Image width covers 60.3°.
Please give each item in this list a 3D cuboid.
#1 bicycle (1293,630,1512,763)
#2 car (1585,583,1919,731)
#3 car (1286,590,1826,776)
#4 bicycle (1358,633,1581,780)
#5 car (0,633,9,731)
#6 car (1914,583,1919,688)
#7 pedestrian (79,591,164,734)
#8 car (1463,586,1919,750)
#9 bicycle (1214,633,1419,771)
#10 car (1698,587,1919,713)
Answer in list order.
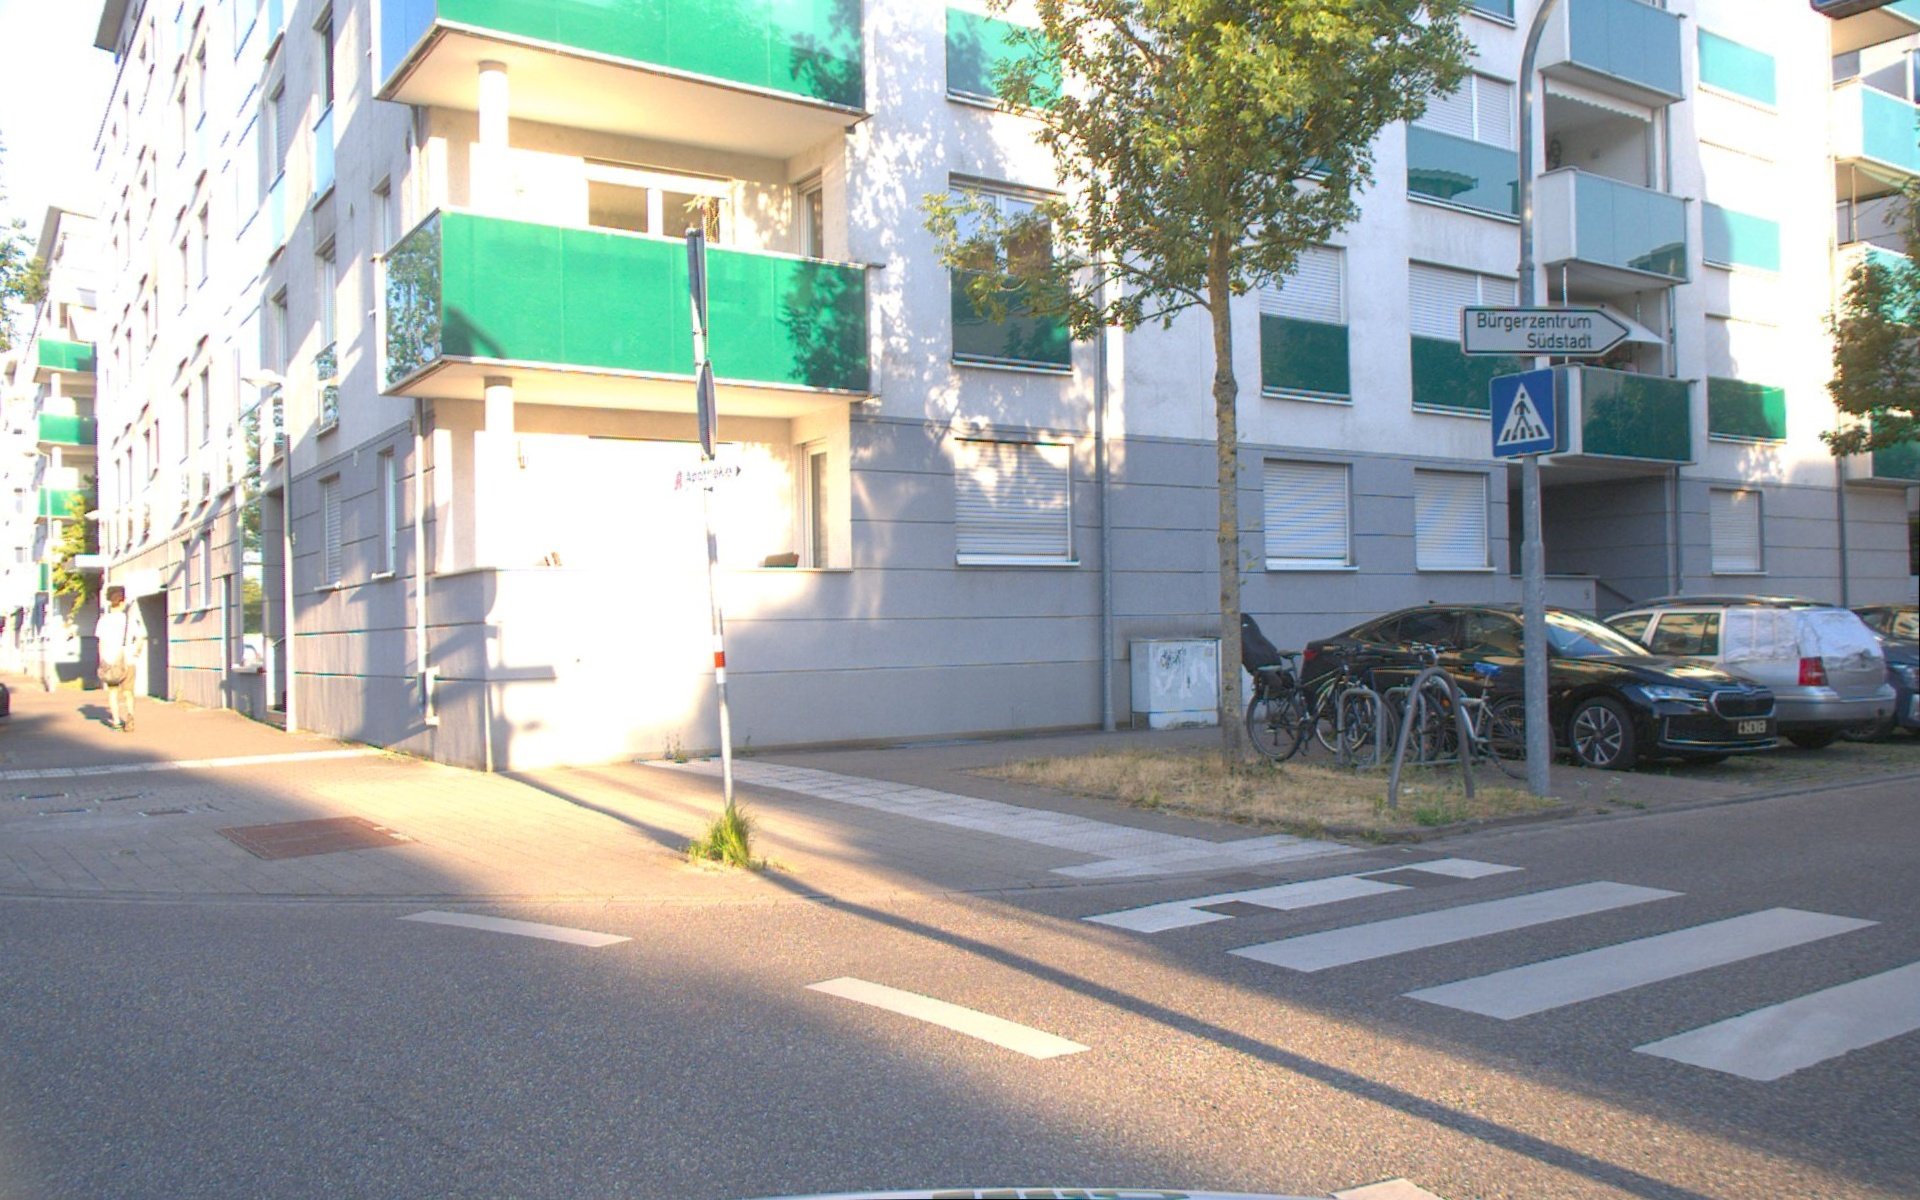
[{"bbox_3d":[3.954,0.833,14.938,0.469,1.064,2.006,1,0,-39],"label":"bicycle"},{"bbox_3d":[9.665,0.584,19.256,1.723,1.520,4.242,0,1,-36],"label":"car"},{"bbox_3d":[5.612,0.676,16.239,1.914,1.483,4.834,0,1,-33],"label":"car"},{"bbox_3d":[4.211,0.850,13.795,0.469,1.091,1.814,1,0,-39],"label":"bicycle"},{"bbox_3d":[-15.774,1.276,23.313,3.960,1.397,1.540,-3,1,-35],"label":"car"},{"bbox_3d":[16.019,0.555,23.242,1.669,1.534,4.237,0,1,-39],"label":"car"},{"bbox_3d":[-11.681,0.865,23.032,0.967,1.927,1.038,0,-2,-33],"label":"pedestrian"},{"bbox_3d":[7.715,0.717,17.756,1.720,1.534,4.366,0,-2,-32],"label":"car"},{"bbox_3d":[3.056,0.846,14.312,0.562,1.060,1.768,1,0,-39],"label":"bicycle"},{"bbox_3d":[11.831,0.603,21.150,1.716,1.483,4.259,0,1,-27],"label":"car"}]
